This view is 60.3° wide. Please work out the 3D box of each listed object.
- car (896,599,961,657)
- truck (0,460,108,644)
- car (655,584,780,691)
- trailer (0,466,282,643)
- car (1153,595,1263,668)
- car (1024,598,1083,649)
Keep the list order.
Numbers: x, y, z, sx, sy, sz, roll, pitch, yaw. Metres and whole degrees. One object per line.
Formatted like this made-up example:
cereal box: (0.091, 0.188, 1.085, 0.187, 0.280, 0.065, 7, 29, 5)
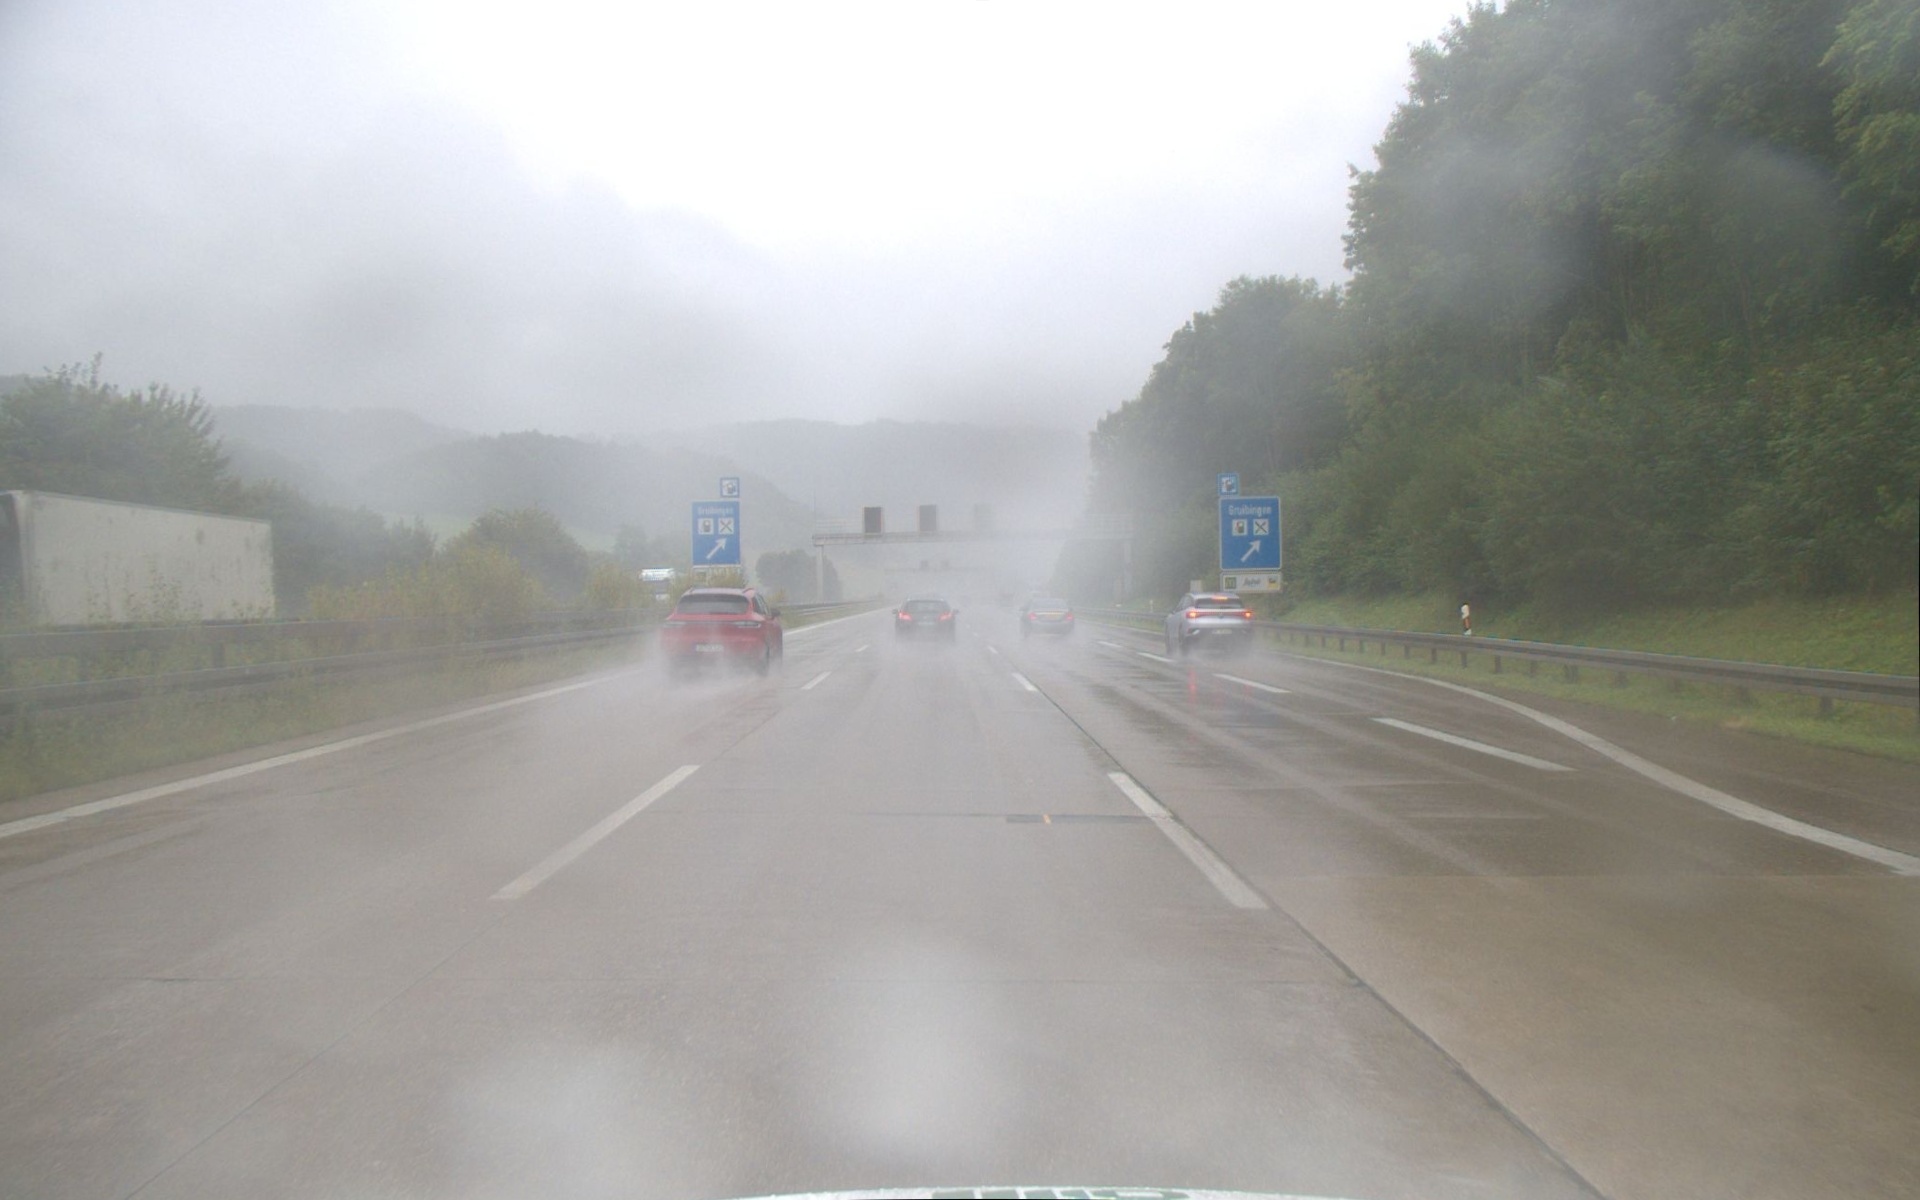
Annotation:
car: (-0.915, 0.786, 48.639, 1.822, 1.617, 3.999, 1, 0, -1)
truck: (-20.062, -0.936, 33.638, 2.758, 3.571, 5.727, 0, 0, -3)
car: (-4.399, 0.640, 30.529, 1.846, 1.847, 3.999, 0, 0, -2)
trailer: (-20.484, -0.933, 40.638, 2.796, 3.604, 13.697, 1, 0, -4)
car: (6.470, 0.793, 43.756, 1.953, 1.781, 5.661, 1, 0, -1)
car: (3.414, 0.838, 61.063, 1.931, 1.791, 3.999, 0, 0, -1)
